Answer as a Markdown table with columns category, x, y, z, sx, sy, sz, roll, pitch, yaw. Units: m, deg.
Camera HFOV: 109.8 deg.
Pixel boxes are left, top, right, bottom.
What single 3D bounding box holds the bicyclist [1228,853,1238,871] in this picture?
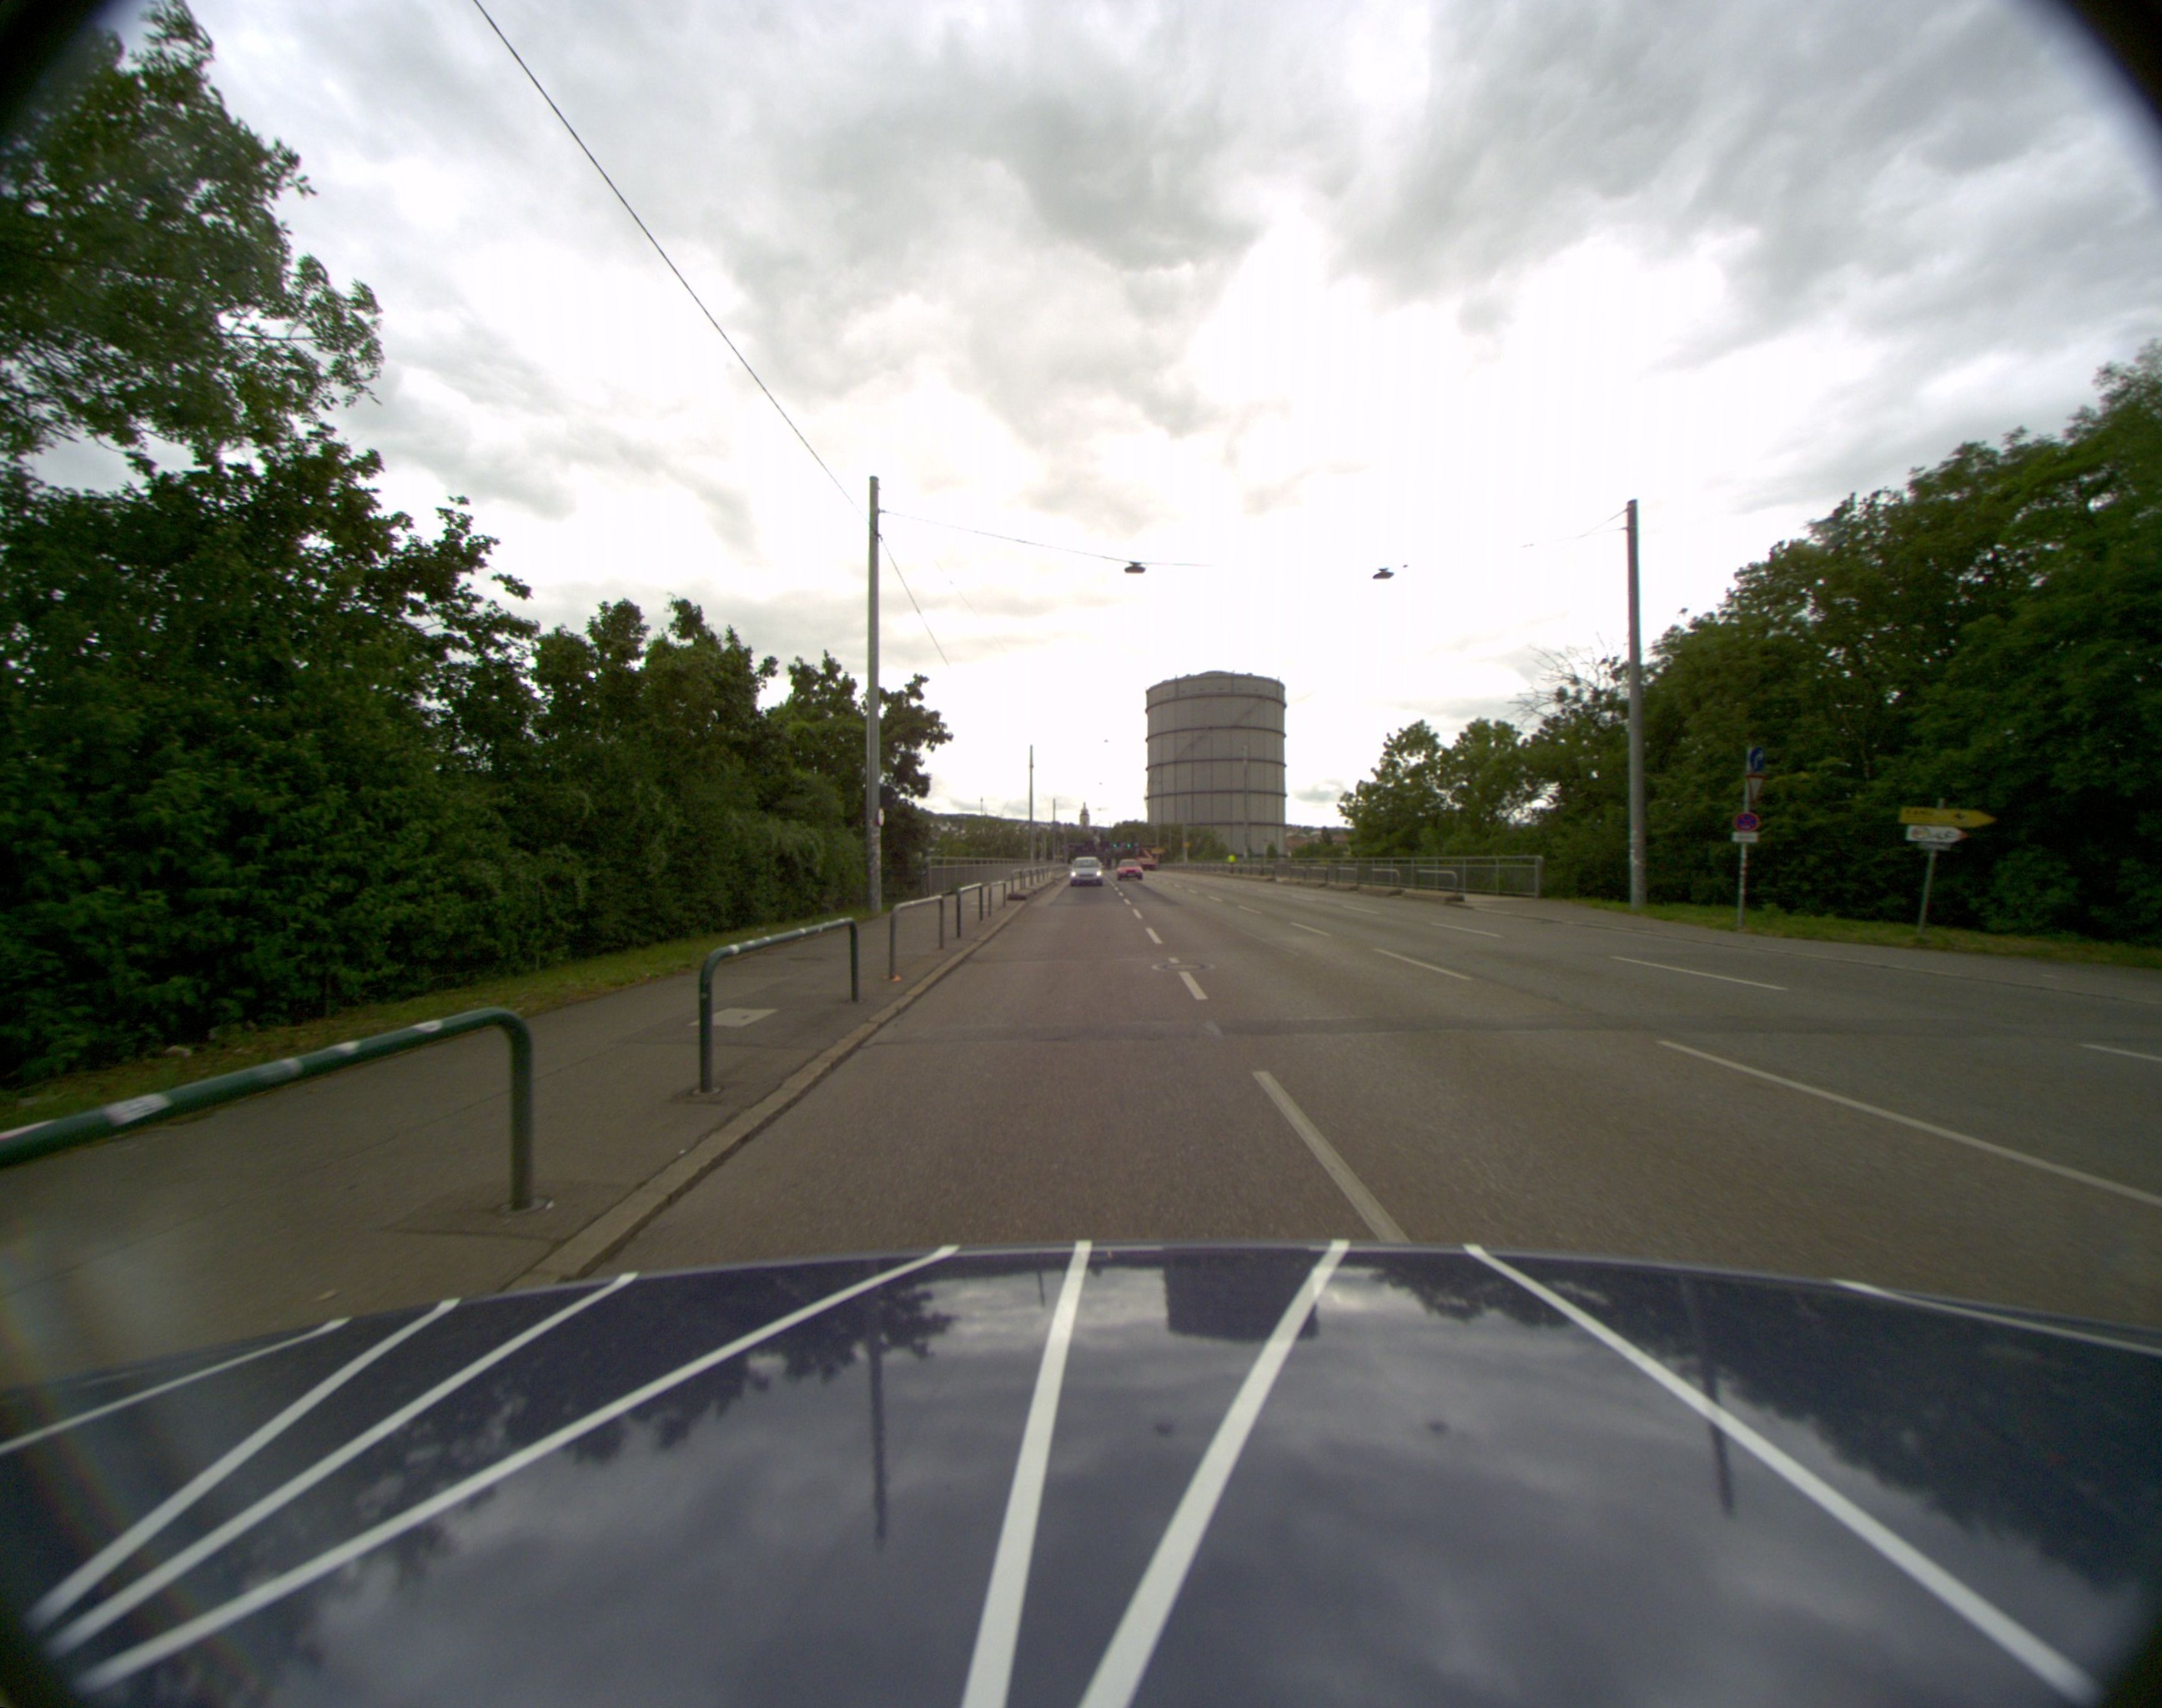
| category | x | y | z | sx | sy | sz | roll | pitch | yaw |
| --- | --- | --- | --- | --- | --- | --- | --- | --- | --- |
| bicyclist | 13.307 | 0.707 | 66.559 | 0.627 | 1.467 | 0.670 | -8 | 0 | 3 |

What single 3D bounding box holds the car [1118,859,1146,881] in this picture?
| category | x | y | z | sx | sy | sz | roll | pitch | yaw |
| --- | --- | --- | --- | --- | --- | --- | --- | --- | --- |
| car | 3.532 | 1.096 | 53.378 | 1.696 | 1.434 | 4.000 | 1 | 0 | 1 |

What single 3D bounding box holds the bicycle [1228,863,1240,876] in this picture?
| category | x | y | z | sx | sy | sz | roll | pitch | yaw |
| --- | --- | --- | --- | --- | --- | --- | --- | --- | --- |
| bicycle | 13.375 | 1.349 | 66.557 | 0.636 | 1.058 | 1.983 | -8 | -1 | 4 |

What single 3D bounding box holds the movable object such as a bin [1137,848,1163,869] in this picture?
| category | x | y | z | sx | sy | sz | roll | pitch | yaw |
| --- | --- | --- | --- | --- | --- | --- | --- | --- | --- |
| movable object such as a bin | 11.314 | 0.723 | 125.312 | 3.464 | 3.303 | 9.359 | 1 | 0 | 1 |

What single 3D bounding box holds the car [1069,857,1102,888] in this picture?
| category | x | y | z | sx | sy | sz | roll | pitch | yaw |
| --- | --- | --- | --- | --- | --- | --- | --- | --- | --- |
| car | 0.285 | 1.003 | 42.699 | 1.771 | 1.565 | 4.000 | 0 | 1 | 1 |
